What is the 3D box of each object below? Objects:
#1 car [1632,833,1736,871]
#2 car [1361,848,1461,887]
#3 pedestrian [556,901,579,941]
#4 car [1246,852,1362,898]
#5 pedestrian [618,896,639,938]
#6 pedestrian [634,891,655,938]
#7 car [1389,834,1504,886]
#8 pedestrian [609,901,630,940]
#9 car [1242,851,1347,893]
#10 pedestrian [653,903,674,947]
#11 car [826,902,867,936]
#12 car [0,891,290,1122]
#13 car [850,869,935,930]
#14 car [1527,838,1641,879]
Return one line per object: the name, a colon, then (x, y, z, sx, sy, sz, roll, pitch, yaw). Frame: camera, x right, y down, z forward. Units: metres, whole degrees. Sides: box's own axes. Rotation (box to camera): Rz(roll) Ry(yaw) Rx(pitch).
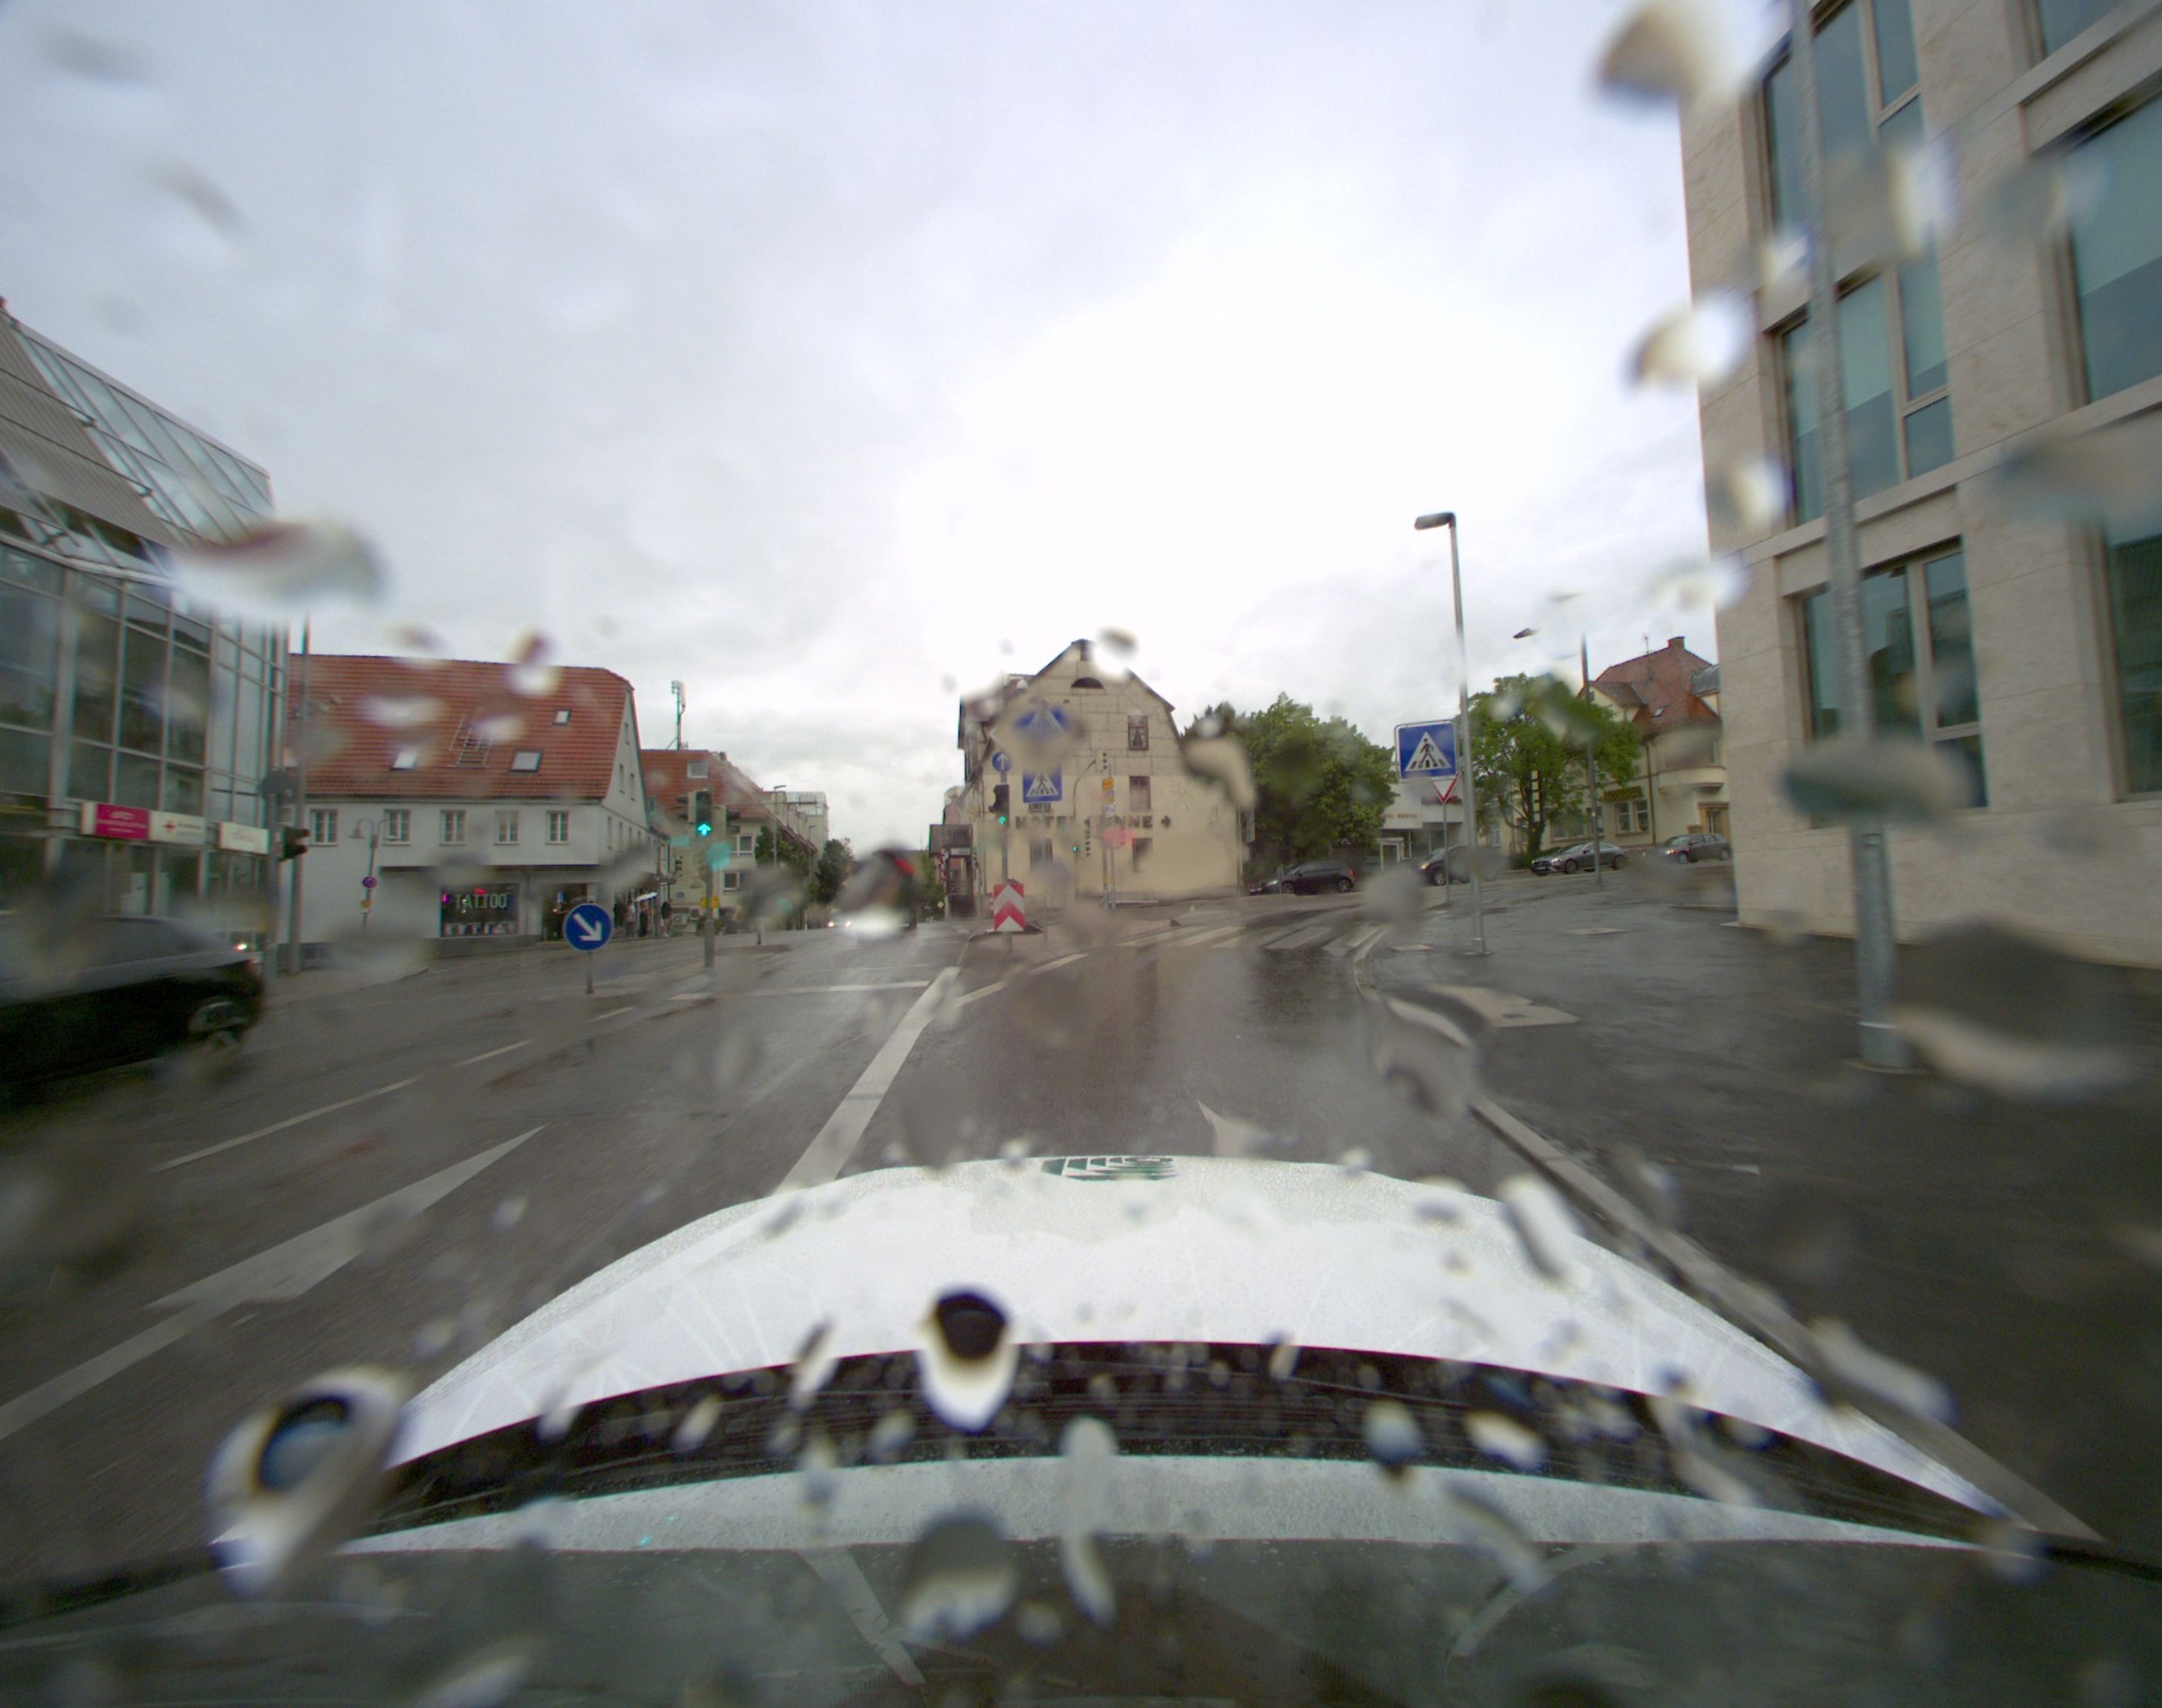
car: (29.526, -0.099, 39.921, 4.180, 1.452, 1.769, -4, -4, -15)
car: (16.009, 0.662, 39.518, 4.180, 1.519, 1.769, -4, -4, -15)
pedestrian: (-21.011, 2.724, 33.353, 0.594, 1.559, 0.630, -3, -1, -18)
car: (9.328, 0.881, 34.155, 4.312, 1.505, 1.768, -4, -4, -17)
pedestrian: (-19.598, 2.725, 35.268, 0.594, 1.774, 0.630, -3, -1, -18)
pedestrian: (-18.009, 2.471, 33.604, 0.536, 1.871, 0.630, -3, -1, -18)
car: (15.995, 0.270, 35.648, 4.310, 1.816, 1.769, -4, -4, -15)
pedestrian: (-19.336, 2.777, 34.143, 0.594, 1.559, 0.630, -3, -1, -18)
car: (9.664, 0.816, 36.973, 4.180, 1.519, 1.769, -4, -4, -15)
pedestrian: (-18.460, 3.144, 36.024, 0.604, 1.867, 0.744, -3, -1, -18)
car: (-20.871, 5.744, 72.811, 2.587, 2.626, 6.534, -4, -2, -10)
car: (-8.350, 1.143, 5.752, 1.886, 1.467, 3.989, -3, 0, -8)
car: (-5.960, 1.375, 26.274, 1.941, 1.566, 4.411, -2, 1, -4)
car: (23.370, 0.216, 37.887, 4.533, 1.452, 1.769, -4, -4, -15)
